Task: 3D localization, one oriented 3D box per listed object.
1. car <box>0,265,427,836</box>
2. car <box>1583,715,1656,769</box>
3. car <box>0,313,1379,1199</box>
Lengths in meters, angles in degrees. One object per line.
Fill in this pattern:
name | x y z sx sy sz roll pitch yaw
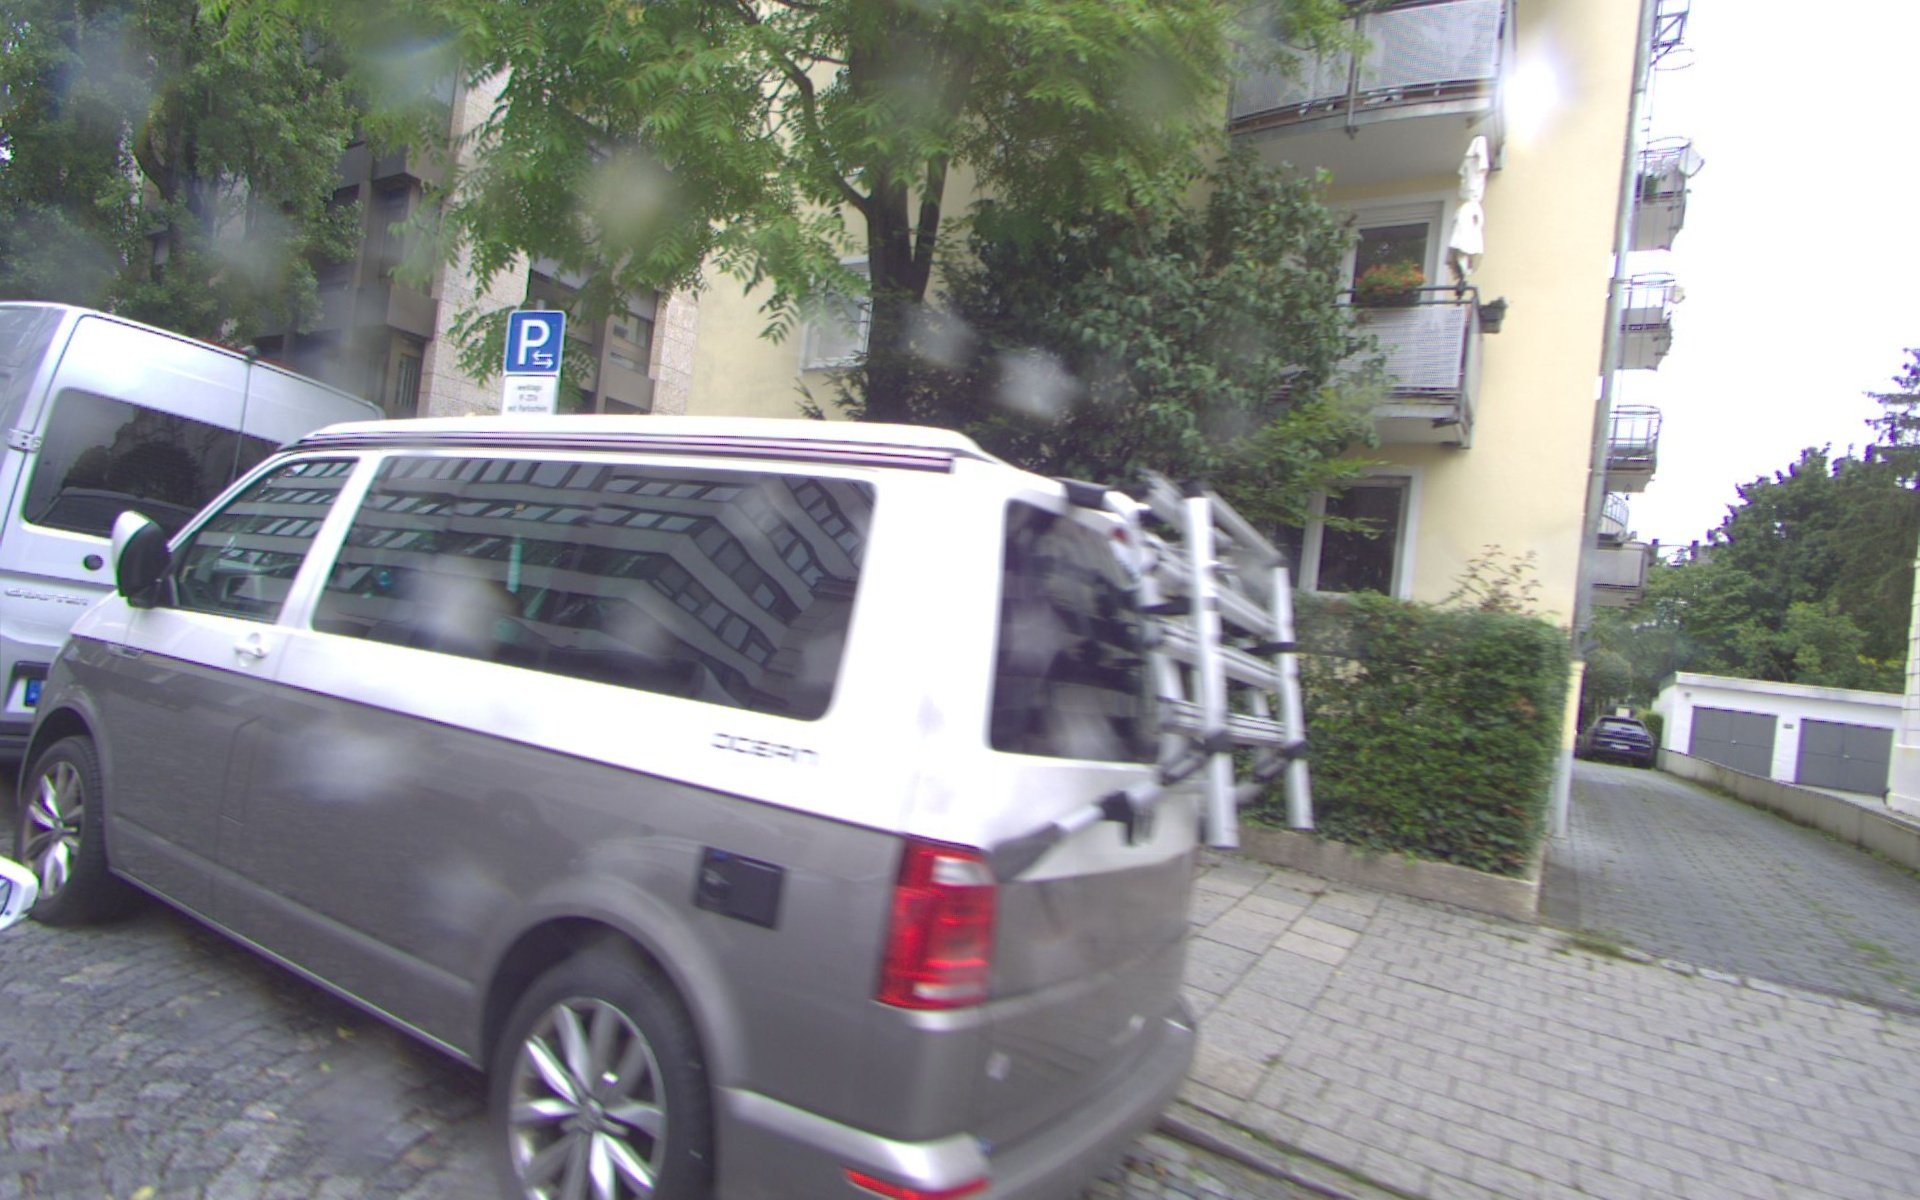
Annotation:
car | -6.130 -0.356 6.454 5.517 2.451 1.902 7 -4 31
car | 22.894 4.891 35.011 1.728 1.515 3.473 6 -2 29
car | -1.304 0.434 3.556 4.779 1.970 1.806 6 -4 31
